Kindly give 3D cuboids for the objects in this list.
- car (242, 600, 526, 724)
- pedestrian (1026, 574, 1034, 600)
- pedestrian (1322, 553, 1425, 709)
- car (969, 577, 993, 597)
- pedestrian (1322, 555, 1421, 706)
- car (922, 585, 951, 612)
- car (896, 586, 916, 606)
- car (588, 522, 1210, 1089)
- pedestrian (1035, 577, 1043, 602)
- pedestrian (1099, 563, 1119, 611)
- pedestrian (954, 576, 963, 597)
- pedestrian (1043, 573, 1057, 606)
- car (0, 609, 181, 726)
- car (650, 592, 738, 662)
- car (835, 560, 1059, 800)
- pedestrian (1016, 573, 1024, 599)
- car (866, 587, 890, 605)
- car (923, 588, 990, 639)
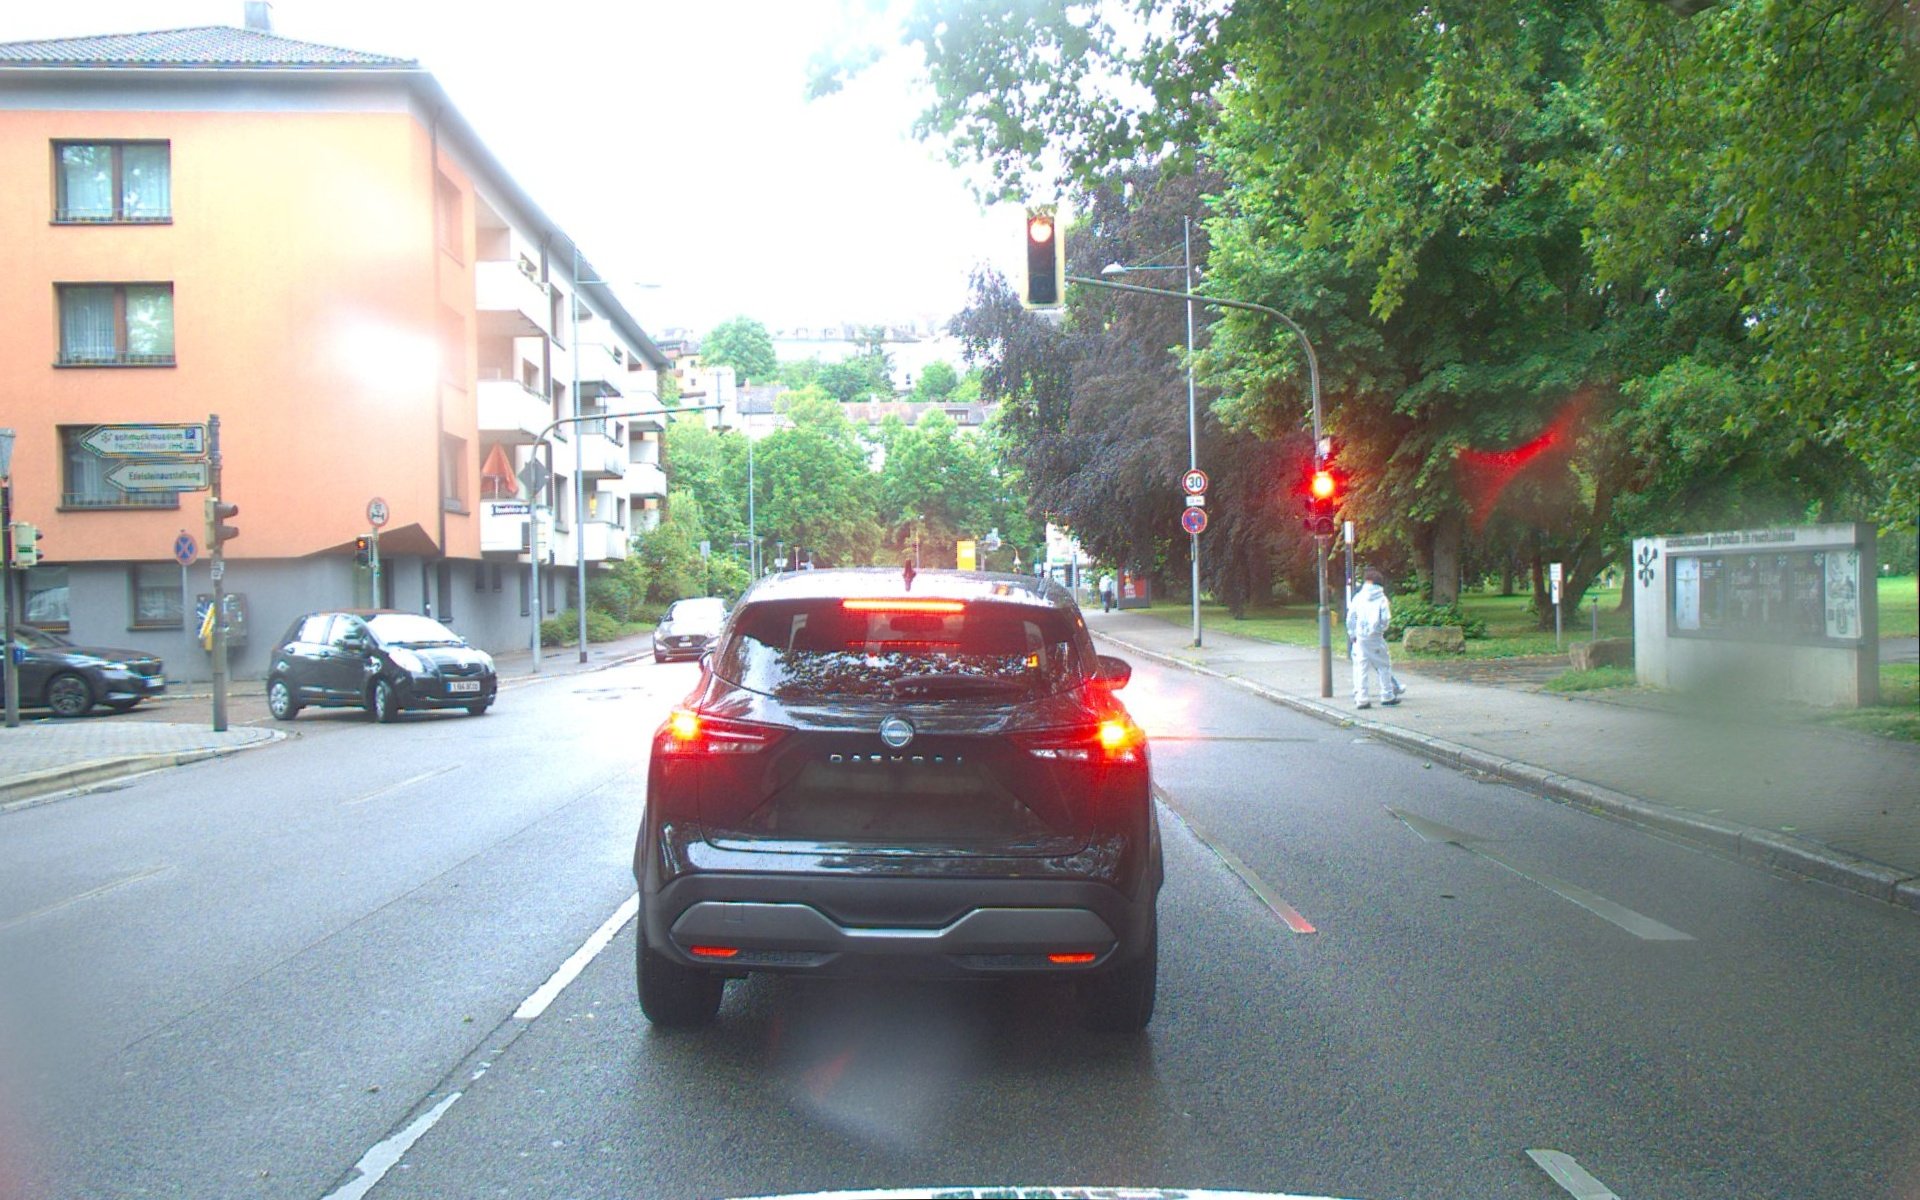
[{"bbox_3d":[-8.098,0.853,23.198,3.786,1.560,1.797,-2,0,33],"label":"car"},{"bbox_3d":[5.004,-0.910,118.356,0.498,1.833,0.659,-2,0,5],"label":"pedestrian"},{"bbox_3d":[5.292,0.391,21.216,1.017,1.908,0.656,-3,0,-11],"label":"pedestrian"},{"bbox_3d":[1.959,-1.204,155.131,1.952,1.765,4.002,1,0,4],"label":"car"},{"bbox_3d":[5.458,0.396,21.971,1.017,1.908,0.656,-3,0,-11],"label":"pedestrian"},{"bbox_3d":[-1.406,-0.095,98.618,1.601,1.559,3.967,-2,0,-1],"label":"car"},{"bbox_3d":[-4.486,-0.335,137.475,1.601,1.559,3.967,-2,0,-1],"label":"car"},{"bbox_3d":[-0.205,0.612,7.008,1.874,1.709,3.999,0,0,-1],"label":"car"},{"bbox_3d":[5.644,-0.754,118.331,0.498,1.833,0.619,-2,0,-2],"label":"pedestrian"},{"bbox_3d":[6.433,-0.568,71.527,0.710,2.049,0.851,-2,0,-1],"label":"pedestrian"},{"bbox_3d":[-0.130,-1.092,135.138,0.498,1.702,0.658,-2,0,27],"label":"pedestrian"},{"bbox_3d":[5.063,-0.583,93.147,0.500,1.833,0.617,-2,0,38],"label":"pedestrian"},{"bbox_3d":[-14.923,1.081,26.276,4.220,1.707,1.724,-2,0,-9],"label":"car"},{"bbox_3d":[-6.505,0.629,40.741,1.760,1.560,3.864,-2,0,-4],"label":"car"},{"bbox_3d":[-0.125,0.598,14.478,1.664,1.776,3.640,-2,0,-1],"label":"car"},{"bbox_3d":[4.289,-0.970,118.349,0.498,1.833,0.619,-2,0,-1],"label":"pedestrian"},{"bbox_3d":[-7.249,-0.364,147.009,1.930,1.559,3.967,-2,0,-1],"label":"car"},{"bbox_3d":[-0.149,0.376,50.525,1.789,1.428,4.648,-2,0,-3],"label":"car"}]
